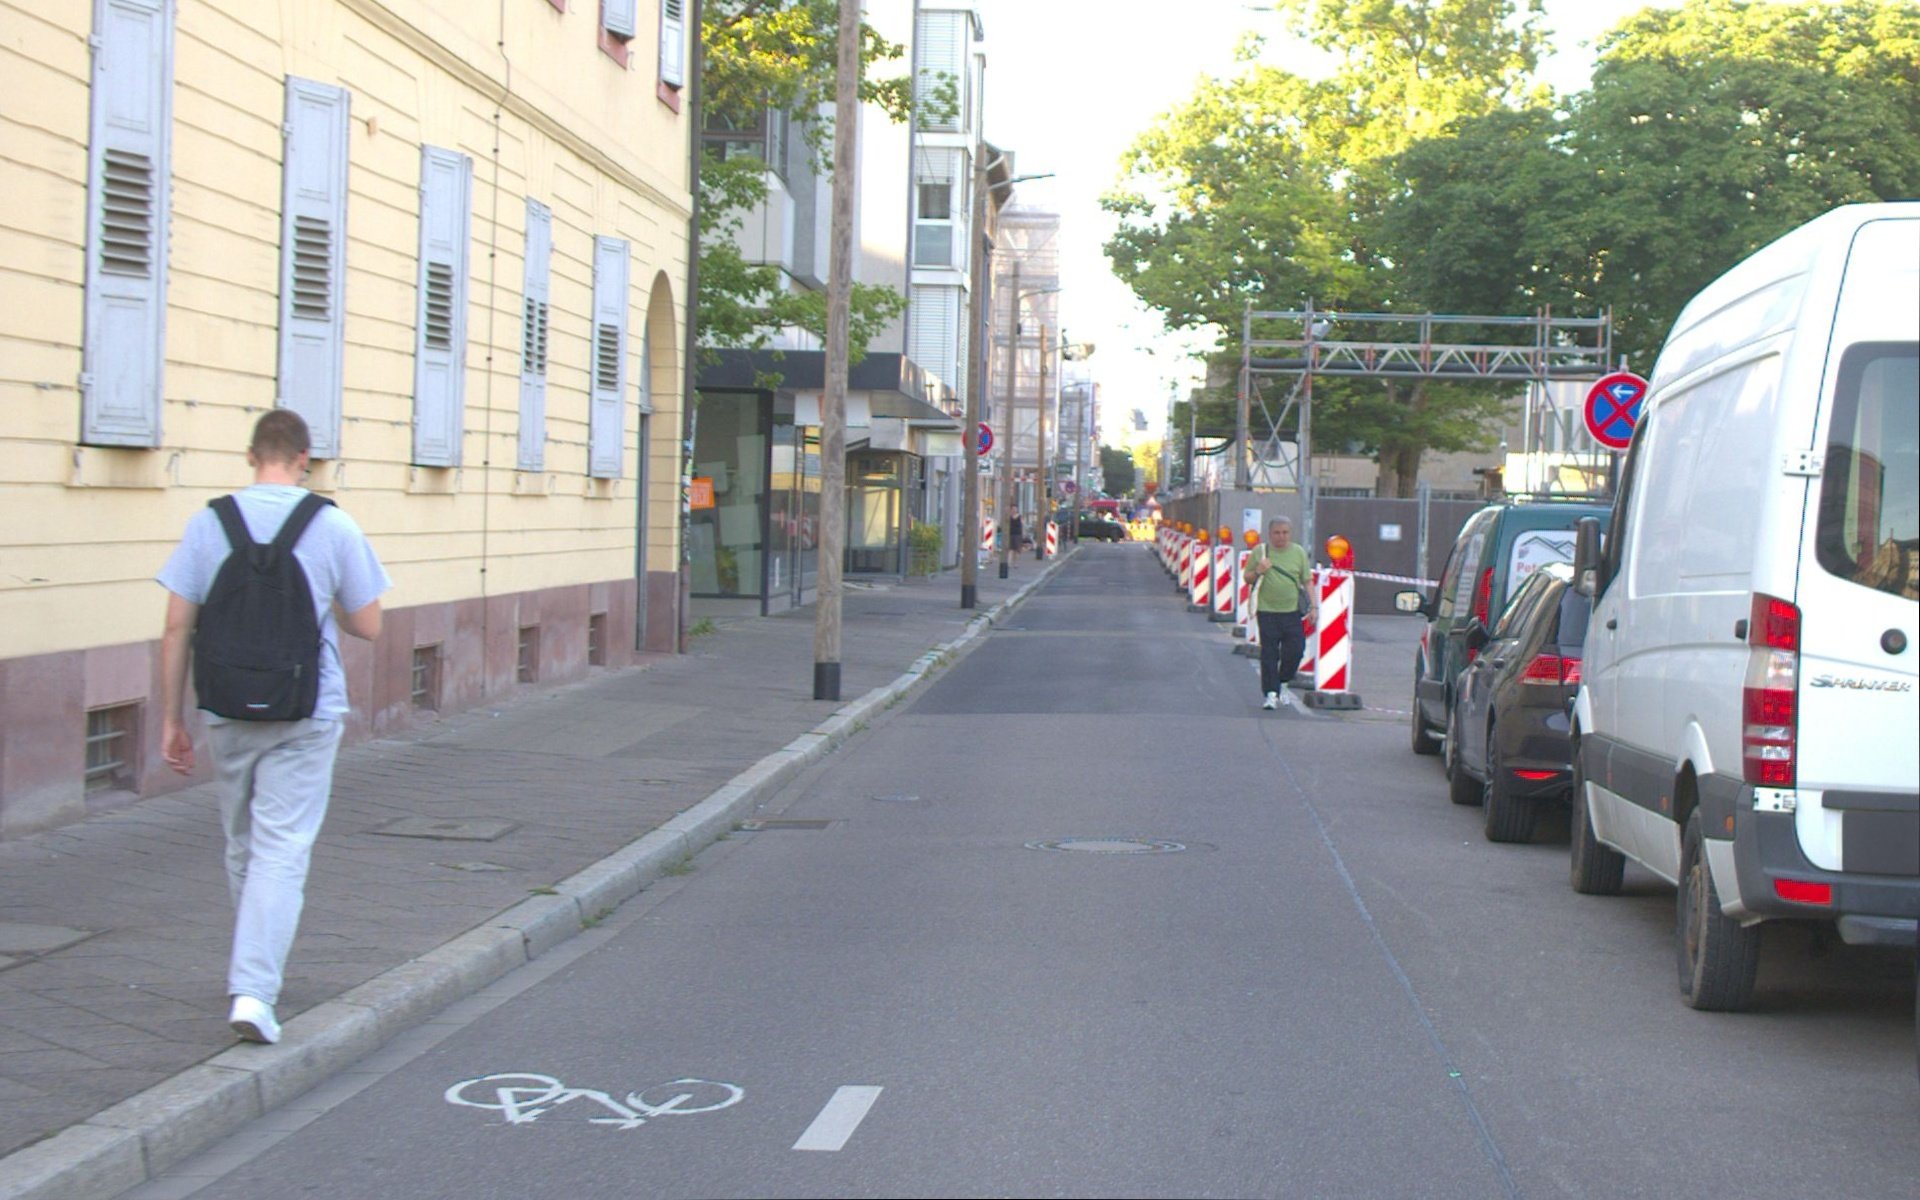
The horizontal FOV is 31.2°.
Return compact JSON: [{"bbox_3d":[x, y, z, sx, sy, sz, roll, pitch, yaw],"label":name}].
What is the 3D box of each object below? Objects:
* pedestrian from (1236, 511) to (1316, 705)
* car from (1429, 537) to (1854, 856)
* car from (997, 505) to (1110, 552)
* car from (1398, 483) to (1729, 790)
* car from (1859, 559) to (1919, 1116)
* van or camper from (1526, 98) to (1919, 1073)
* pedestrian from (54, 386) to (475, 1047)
[{"bbox_3d":[2.711,0.057,29.476,0.613,1.623,0.818,2,1,6],"label":"pedestrian"},{"bbox_3d":[3.575,0.427,18.685,1.692,1.454,4.098,2,2,4],"label":"car"},{"bbox_3d":[3.142,-2.413,115.595,3.743,1.454,1.698,2,1,2],"label":"car"},{"bbox_3d":[3.992,0.177,23.303,1.713,1.842,4.022,2,2,4],"label":"car"},{"bbox_3d":[3.288,0.685,7.294,1.729,1.424,4.474,2,2,3],"label":"car"},{"bbox_3d":[3.512,-0.077,12.957,2.077,2.765,6.449,2,1,4],"label":"van or camper"},{"bbox_3d":[-1.908,0.298,9.530,0.876,1.718,0.829,2,1,7],"label":"pedestrian"}]
